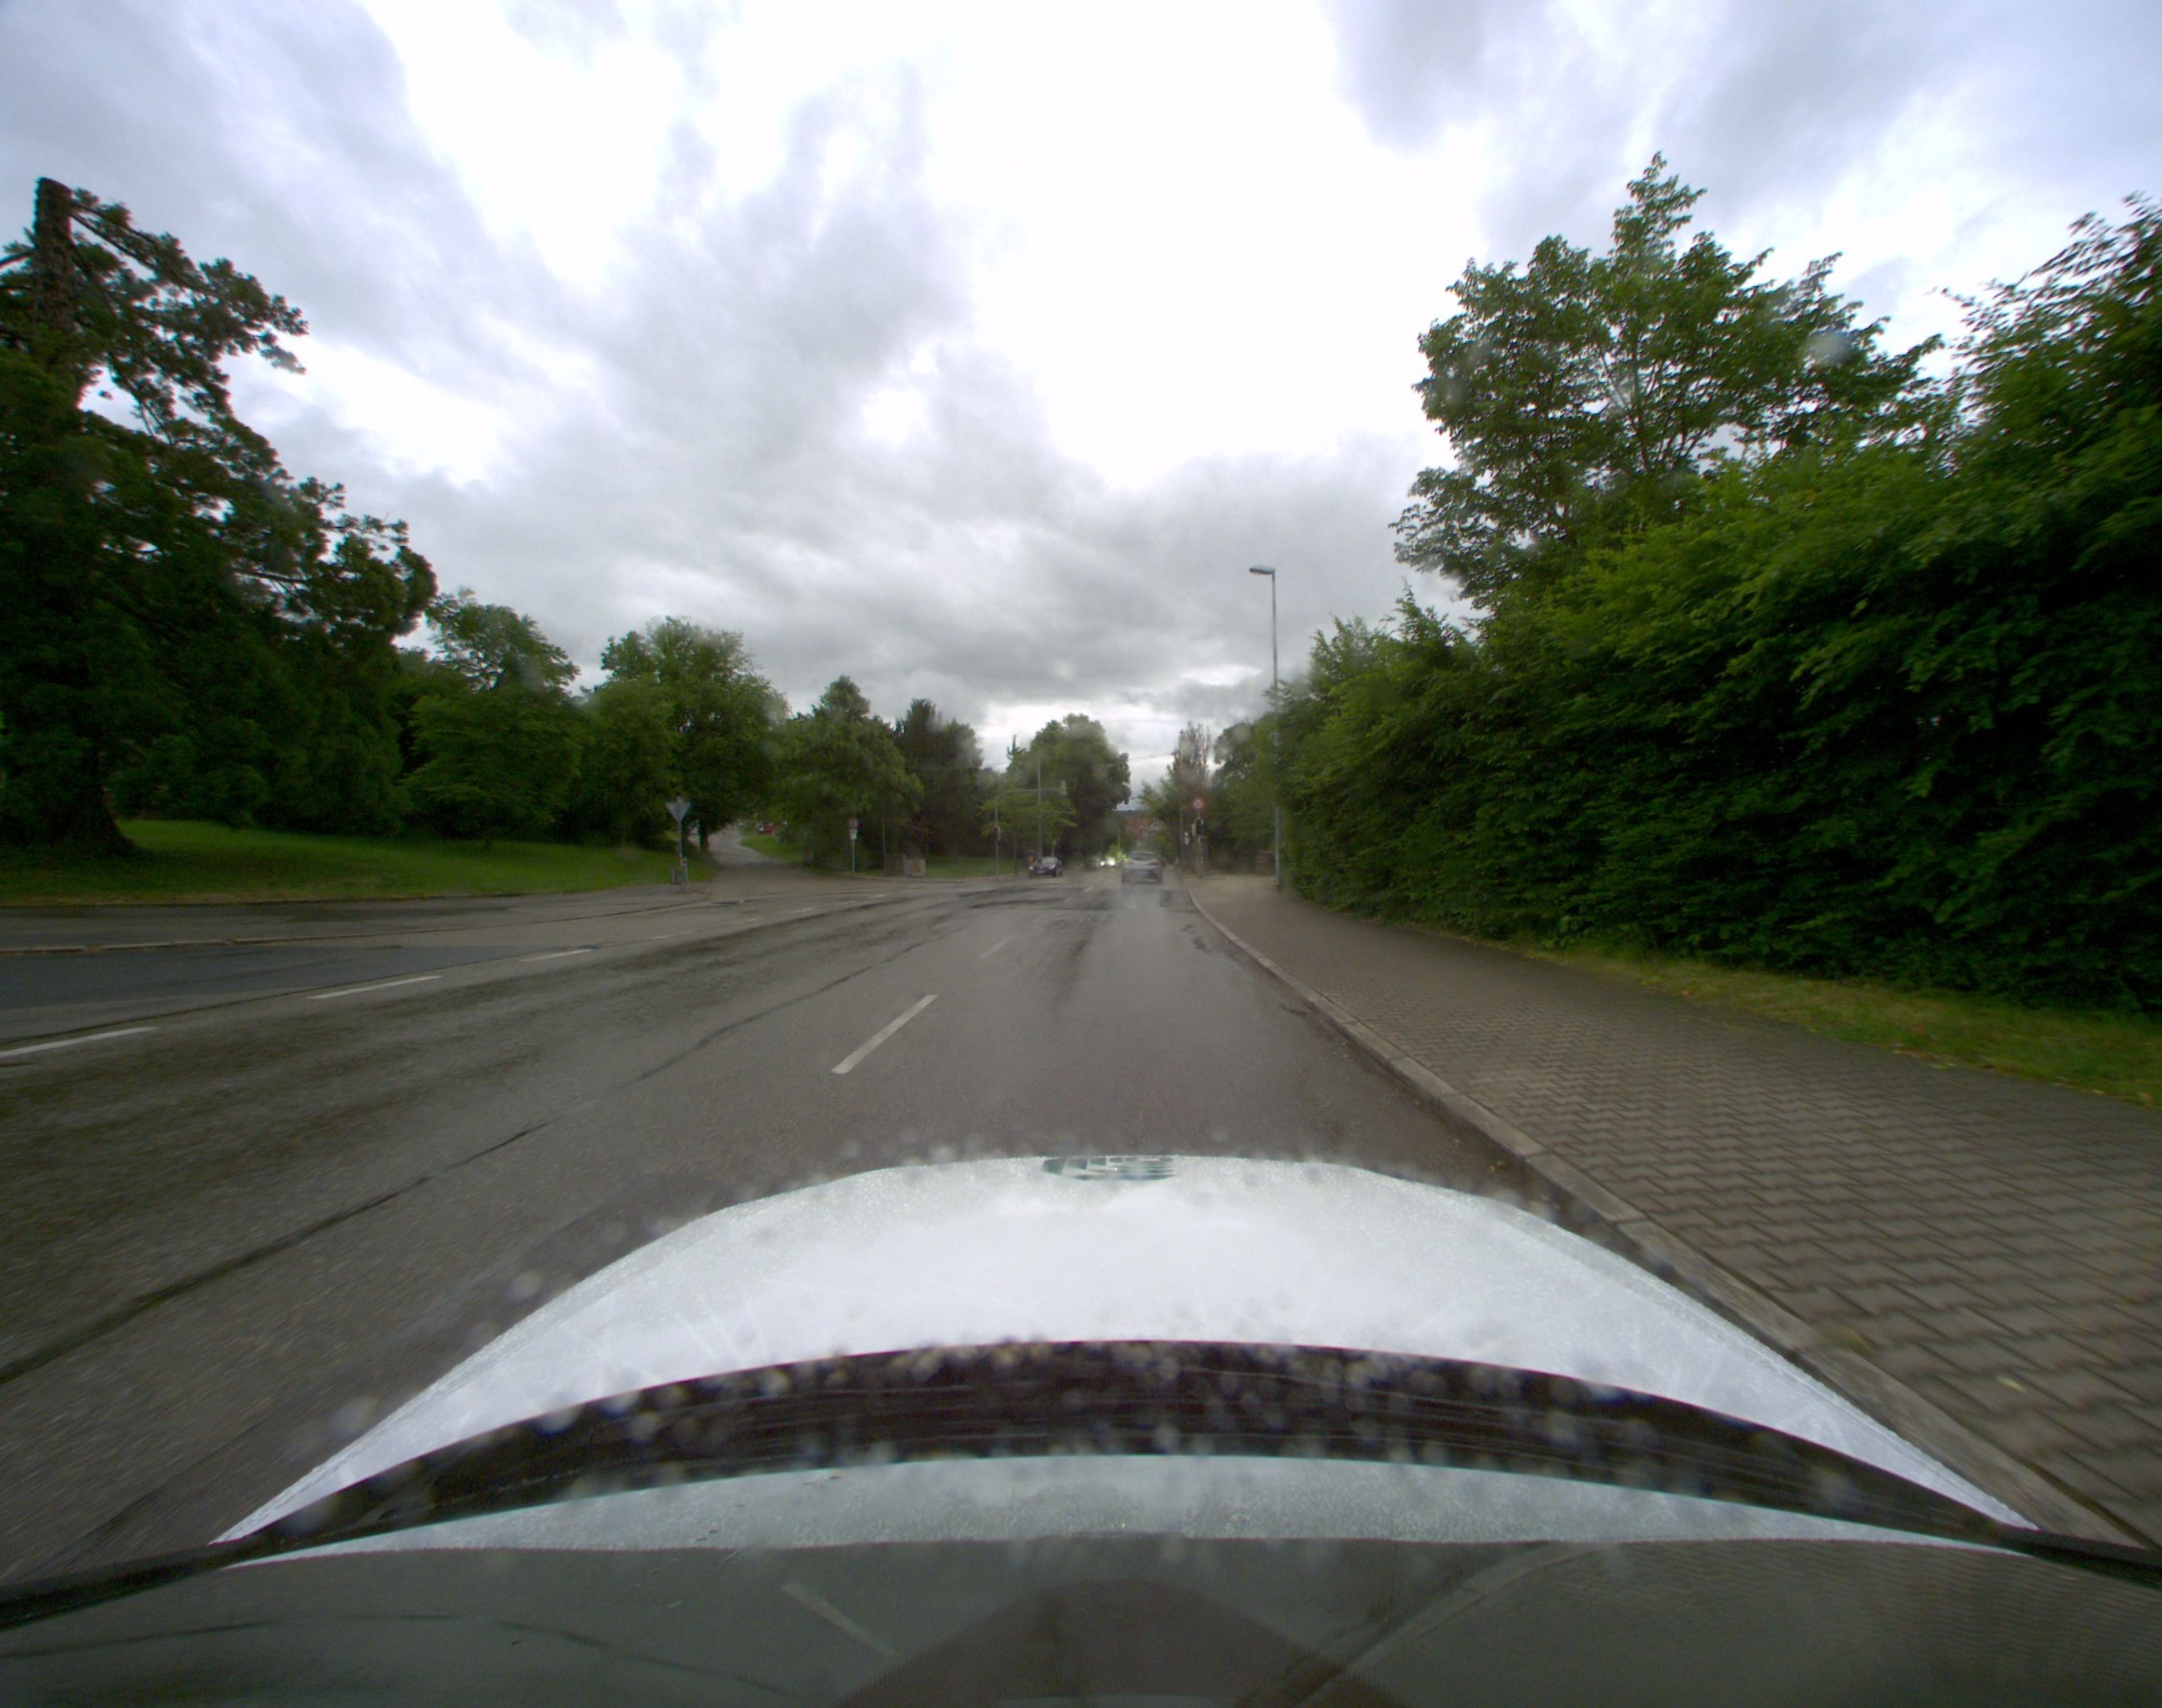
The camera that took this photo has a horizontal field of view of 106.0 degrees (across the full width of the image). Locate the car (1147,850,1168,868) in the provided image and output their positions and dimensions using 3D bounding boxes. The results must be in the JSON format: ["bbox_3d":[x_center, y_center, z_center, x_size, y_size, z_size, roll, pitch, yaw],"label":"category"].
[{"bbox_3d":[6.847,0.457,72.912,1.713,1.464,4.005,2,0,5],"label":"car"}]

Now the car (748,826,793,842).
[{"bbox_3d":[-30.005,-1.879,78.688,3.905,1.486,1.924,0,0,-17],"label":"car"}]

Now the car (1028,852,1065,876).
[{"bbox_3d":[-2.084,0.588,50.437,1.652,1.306,4.091,-2,1,6],"label":"car"}]

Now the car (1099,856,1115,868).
[{"bbox_3d":[3.283,1.013,102.871,1.713,1.399,4.007,2,0,6],"label":"car"}]

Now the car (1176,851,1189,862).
[{"bbox_3d":[14.301,0.410,115.093,1.712,1.464,4.008,-2,0,7],"label":"car"}]

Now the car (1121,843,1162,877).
[{"bbox_3d":[2.851,0.253,38.104,1.746,1.464,4.006,1,1,5],"label":"car"}]

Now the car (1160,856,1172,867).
[{"bbox_3d":[12.605,1.065,120.788,1.713,1.464,4.005,2,0,5],"label":"car"}]

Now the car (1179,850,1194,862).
[{"bbox_3d":[12.938,0.222,99.968,1.712,1.464,4.008,-2,0,7],"label":"car"}]

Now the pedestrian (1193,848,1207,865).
[{"bbox_3d":[9.837,0.227,67.230,1.066,1.355,0.921,-2,0,13],"label":"pedestrian"}]

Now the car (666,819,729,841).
[{"bbox_3d":[-27.835,-1.720,59.257,3.905,1.486,1.924,0,0,-17],"label":"car"}]
